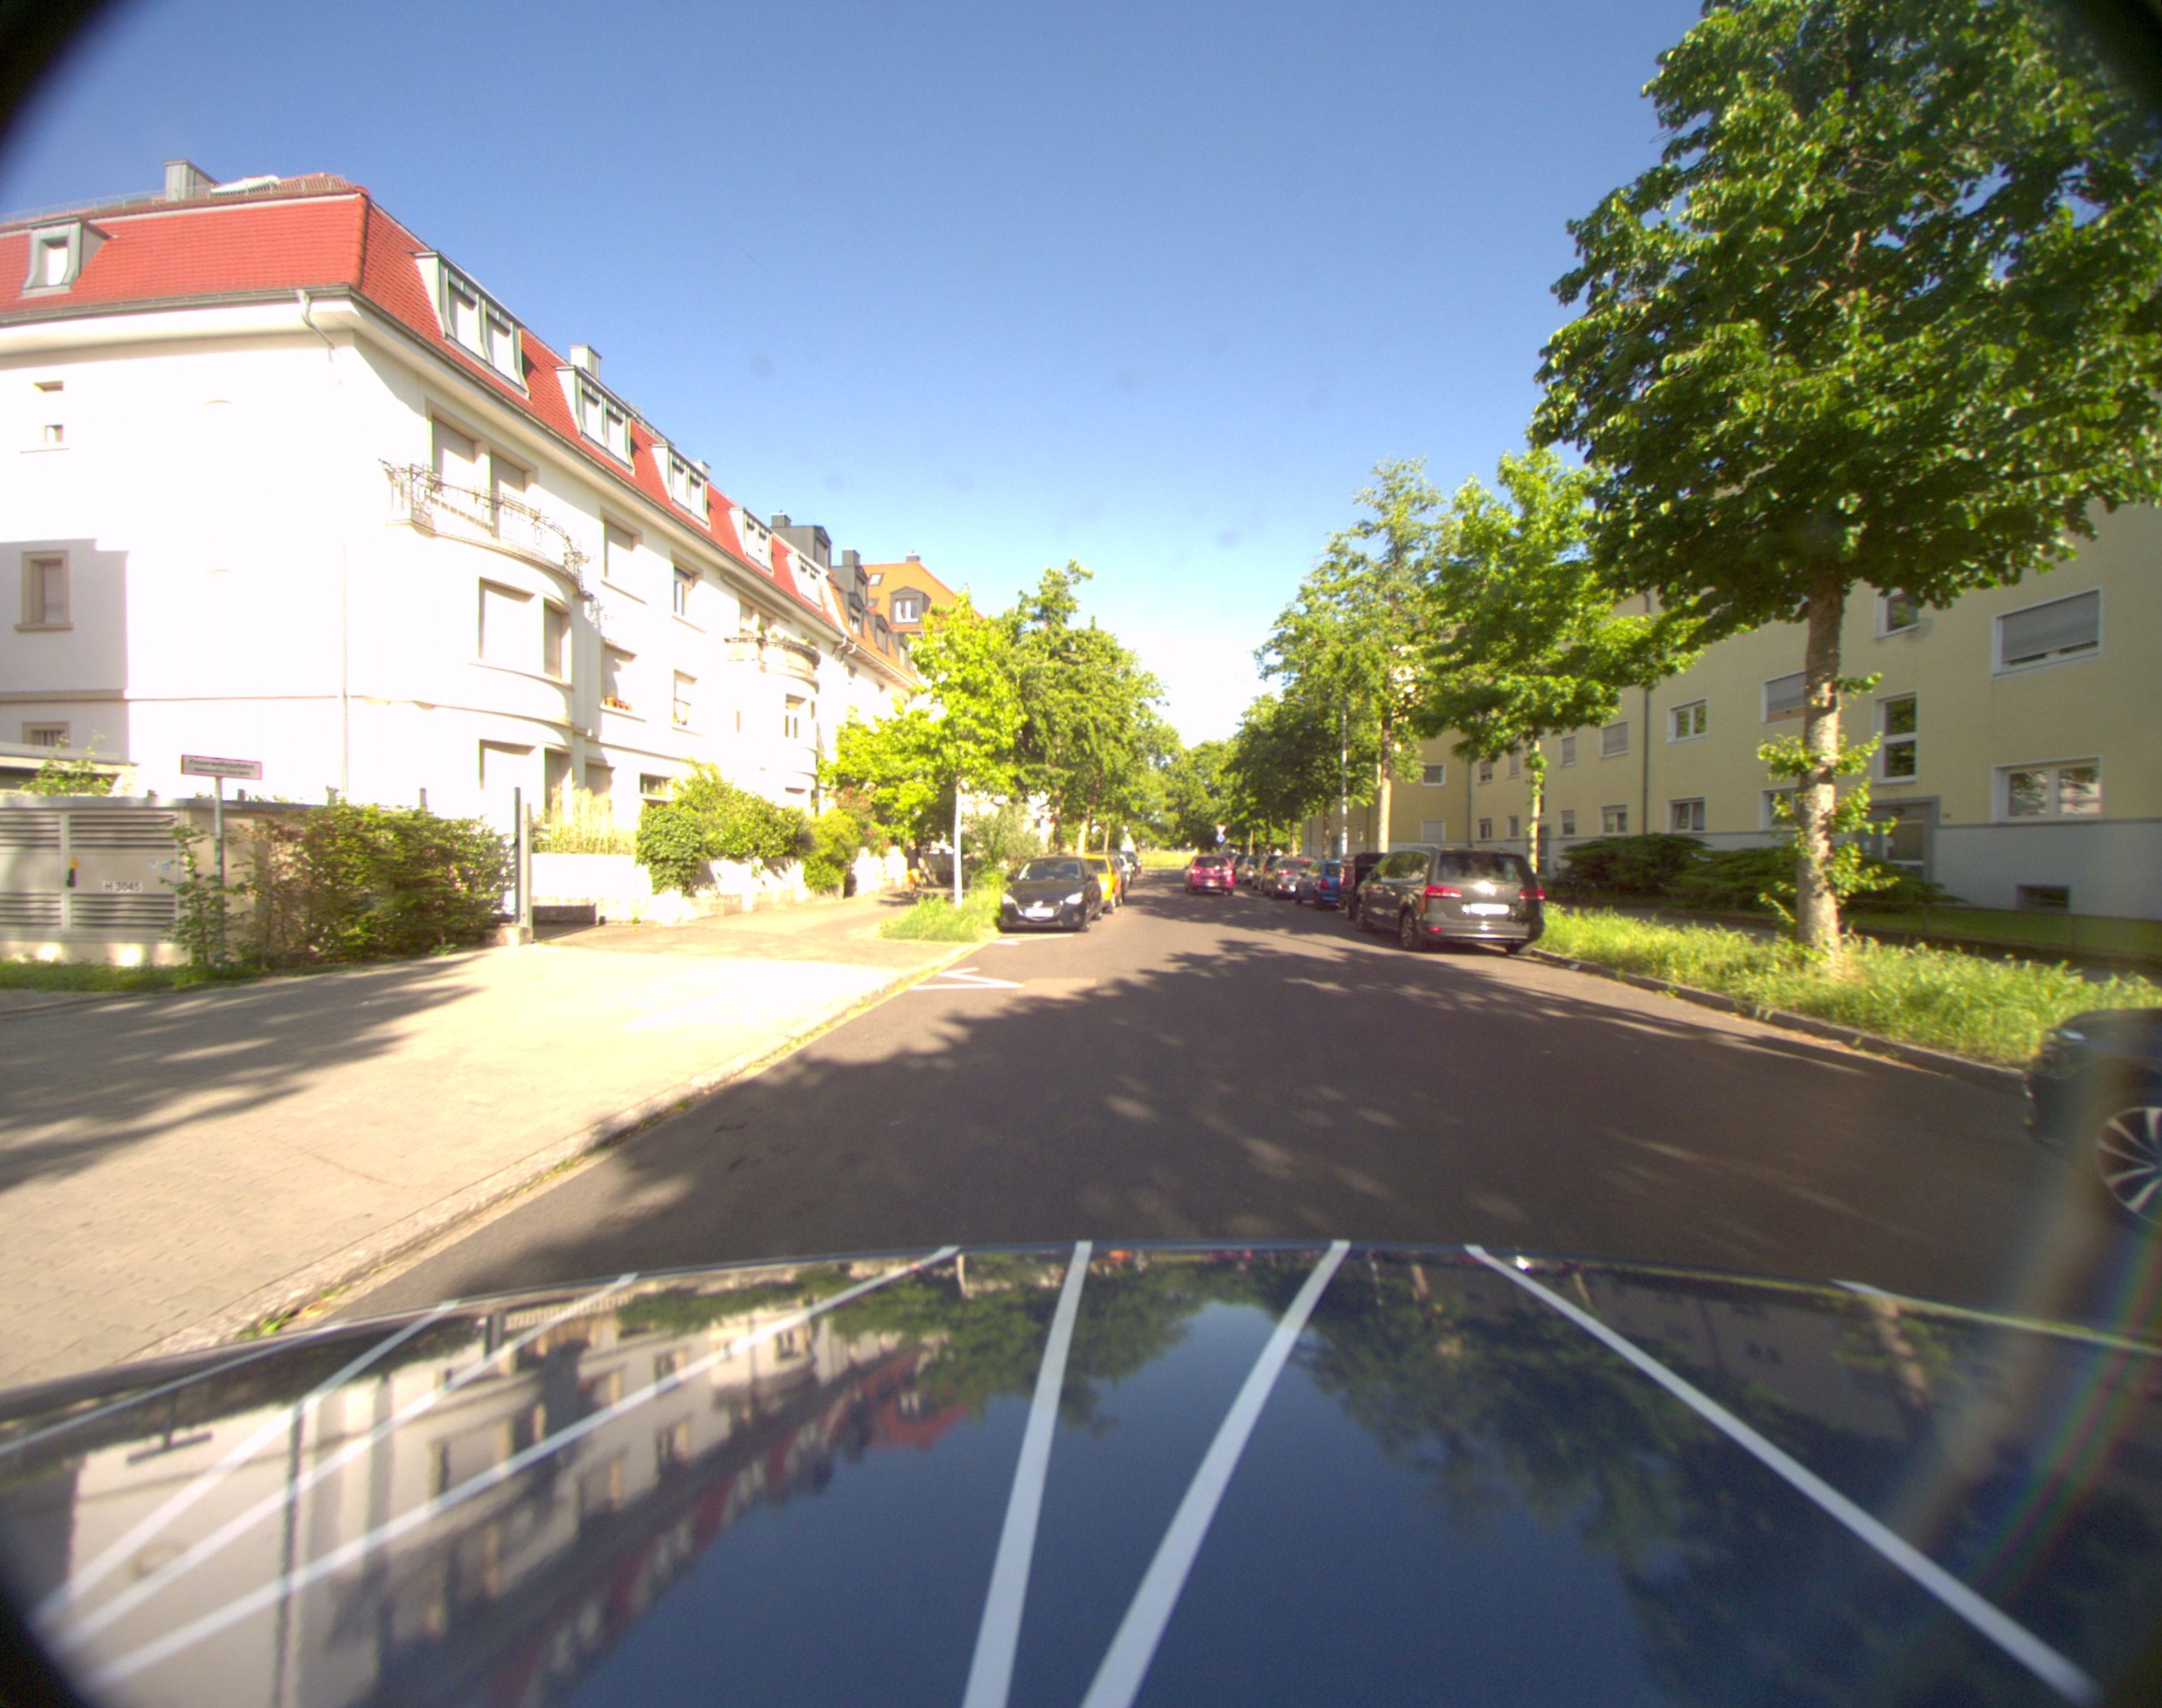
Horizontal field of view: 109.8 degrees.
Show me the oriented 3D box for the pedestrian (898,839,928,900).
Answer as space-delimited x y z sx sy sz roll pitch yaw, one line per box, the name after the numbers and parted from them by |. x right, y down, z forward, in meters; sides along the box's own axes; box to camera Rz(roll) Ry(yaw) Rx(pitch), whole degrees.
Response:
-4.942 0.447 22.406 0.623 1.764 0.800 1 1 6 | pedestrian

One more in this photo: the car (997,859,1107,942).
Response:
-0.468 0.858 15.996 1.704 1.440 4.084 1 0 6 | car

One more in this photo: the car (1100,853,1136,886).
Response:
1.993 0.760 39.866 1.688 1.579 4.537 -2 0 4 | car

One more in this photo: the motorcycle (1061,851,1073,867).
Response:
-1.210 0.441 65.401 0.973 1.321 1.853 0 1 0 | motorcycle

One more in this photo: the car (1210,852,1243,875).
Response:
10.148 0.619 53.307 1.695 1.556 4.737 0 0 4 | car

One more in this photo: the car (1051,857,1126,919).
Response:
0.292 0.838 20.509 1.640 1.446 4.101 1 0 6 | car

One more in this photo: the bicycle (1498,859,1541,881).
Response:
19.496 0.708 33.782 1.637 0.925 0.481 1 1 -2 | bicycle

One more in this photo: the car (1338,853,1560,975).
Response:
6.155 0.859 13.477 1.853 1.671 4.978 3 1 5 | car

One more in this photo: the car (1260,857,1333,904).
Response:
7.512 0.865 26.916 1.795 1.436 4.690 2 1 7 | car

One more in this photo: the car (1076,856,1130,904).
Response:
0.787 0.820 25.550 1.653 1.420 3.613 1 0 4 | car

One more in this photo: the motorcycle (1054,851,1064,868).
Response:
-1.757 0.433 61.201 0.540 1.353 2.090 0 1 6 | motorcycle

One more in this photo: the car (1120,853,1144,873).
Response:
3.755 0.627 56.139 1.615 1.401 4.352 0 0 2 | car

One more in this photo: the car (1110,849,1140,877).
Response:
2.896 0.556 49.085 1.784 1.688 4.299 1 0 5 | car

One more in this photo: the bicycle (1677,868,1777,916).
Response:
14.988 0.880 17.647 1.843 1.075 0.486 0 1 3 | bicycle

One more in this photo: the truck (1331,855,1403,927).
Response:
6.743 0.824 18.073 1.086 1.568 2.433 1 0 8 | truck

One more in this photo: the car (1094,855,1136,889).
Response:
1.638 0.787 35.281 1.633 1.417 4.370 1 0 6 | car

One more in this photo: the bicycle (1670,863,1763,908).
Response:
16.228 0.803 19.425 1.843 1.075 0.487 -2 2 9 | bicycle

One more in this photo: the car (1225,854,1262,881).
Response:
9.335 0.742 43.855 1.668 1.450 3.934 0 0 6 | car

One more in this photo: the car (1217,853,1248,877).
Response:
9.702 0.685 48.744 1.668 1.477 3.257 0 0 6 | car

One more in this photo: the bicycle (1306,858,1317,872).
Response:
16.801 0.762 55.359 0.516 0.995 1.546 0 0 9 | bicycle

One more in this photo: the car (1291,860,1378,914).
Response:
7.261 0.886 22.070 1.524 1.387 3.728 0 0 4 | car

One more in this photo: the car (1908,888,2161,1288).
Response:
4.955 1.003 1.577 1.510 1.539 4.780 3 1 5 | car

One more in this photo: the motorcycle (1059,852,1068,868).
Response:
-1.482 0.466 63.548 0.658 1.272 1.800 2 1 -1 | motorcycle

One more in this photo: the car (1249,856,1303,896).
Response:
8.270 0.886 32.486 1.623 1.507 4.271 3 1 7 | car

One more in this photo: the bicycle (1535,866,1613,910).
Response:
13.274 0.882 20.514 0.487 1.075 1.842 -3 1 -18 | bicycle

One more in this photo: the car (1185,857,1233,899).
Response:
4.721 0.857 28.326 1.508 1.418 3.179 1 0 5 | car

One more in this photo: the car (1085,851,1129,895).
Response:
1.072 0.715 30.668 1.652 1.646 3.847 0 0 3 | car

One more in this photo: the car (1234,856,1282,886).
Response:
8.876 0.810 38.394 1.749 1.361 4.676 1 0 6 | car
